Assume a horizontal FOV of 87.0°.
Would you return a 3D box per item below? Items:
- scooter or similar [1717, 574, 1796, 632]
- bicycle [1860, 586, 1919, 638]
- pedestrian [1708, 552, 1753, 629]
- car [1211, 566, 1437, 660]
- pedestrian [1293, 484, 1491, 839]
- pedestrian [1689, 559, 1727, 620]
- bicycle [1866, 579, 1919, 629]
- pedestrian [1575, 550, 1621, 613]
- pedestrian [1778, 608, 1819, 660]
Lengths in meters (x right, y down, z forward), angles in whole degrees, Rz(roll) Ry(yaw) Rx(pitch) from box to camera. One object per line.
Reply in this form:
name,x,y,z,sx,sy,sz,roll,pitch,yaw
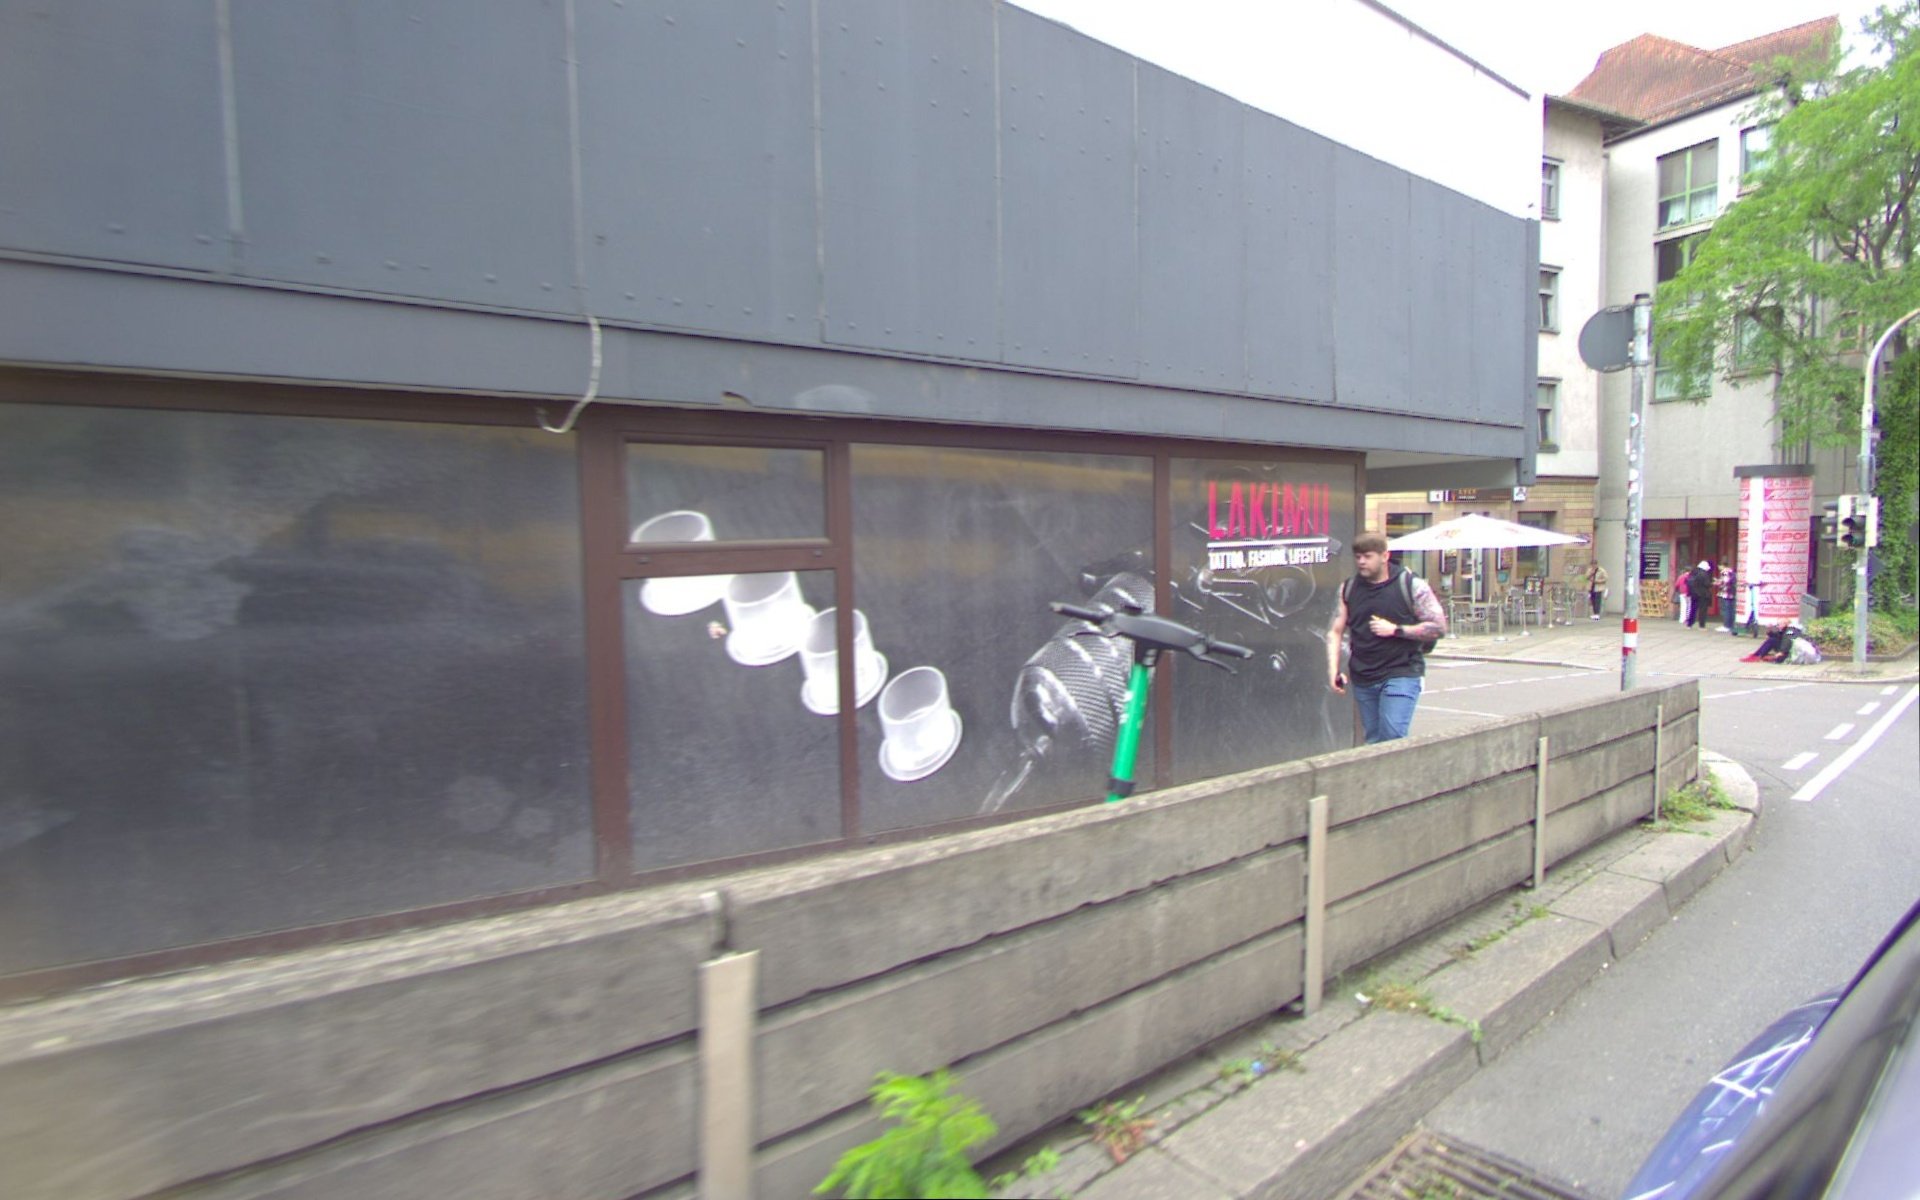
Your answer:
scooter or similar,18.765,0.056,23.864,0.618,1.269,1.394,0,3,-7
bicycle,23.426,0.305,24.984,1.741,1.236,0.533,3,3,44
pedestrian,19.671,-0.250,25.827,0.863,1.913,0.707,0,0,-36
car,8.532,0.234,24.317,1.959,1.930,5.161,-4,2,-25
pedestrian,2.435,0.305,5.707,0.868,1.808,0.722,-1,0,-41
pedestrian,19.296,-0.278,26.102,0.652,1.542,0.625,0,0,-36
bicycle,24.297,0.102,25.851,1.687,1.237,0.533,2,2,44
pedestrian,18.938,-0.545,30.045,0.720,1.857,0.905,0,0,-14
pedestrian,15.553,0.625,18.771,0.573,0.922,0.485,0,0,-39
